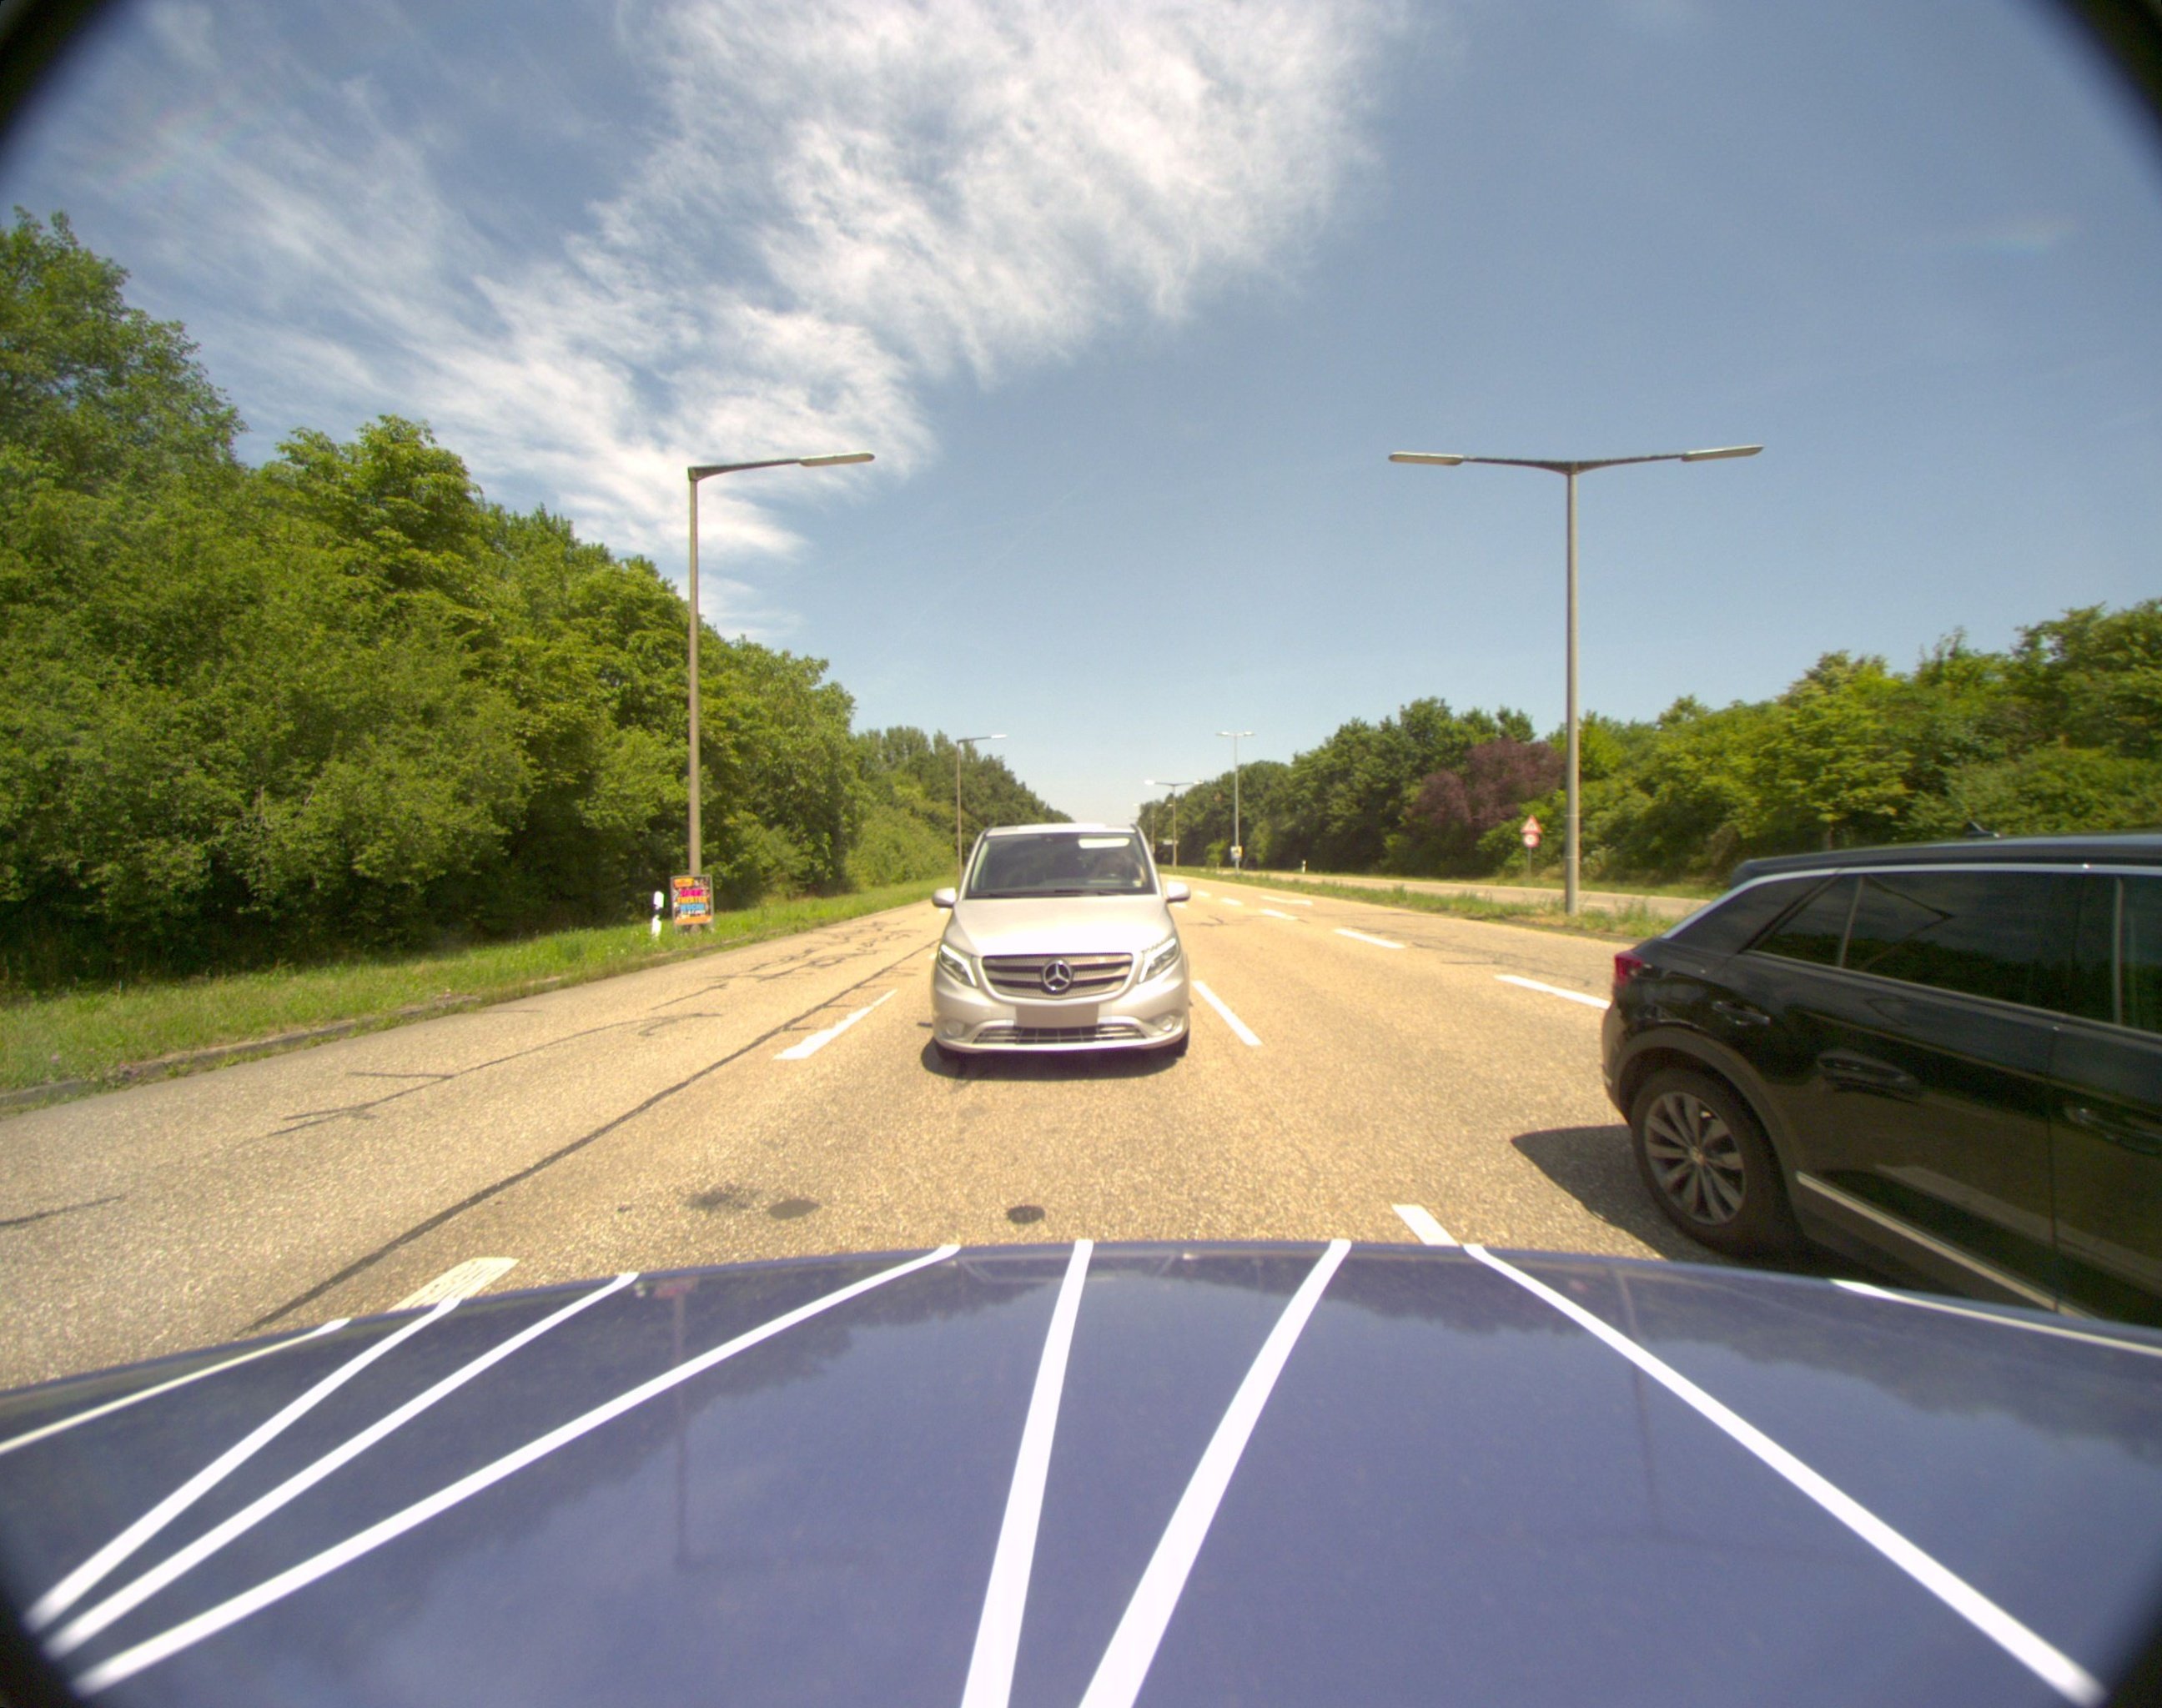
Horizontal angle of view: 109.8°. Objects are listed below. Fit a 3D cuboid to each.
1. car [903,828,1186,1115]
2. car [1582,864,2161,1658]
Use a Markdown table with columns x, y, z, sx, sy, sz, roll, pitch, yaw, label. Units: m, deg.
| x | y | z | sx | sy | sz | roll | pitch | yaw | label |
| --- | --- | --- | --- | --- | --- | --- | --- | --- | --- |
| -0.205 | 0.757 | 7.325 | 1.764 | 1.794 | 4.855 | -2 | 0 | 1 | car |
| 3.029 | 0.850 | 1.296 | 1.739 | 1.503 | 3.970 | -2 | 1 | 1 | car |
